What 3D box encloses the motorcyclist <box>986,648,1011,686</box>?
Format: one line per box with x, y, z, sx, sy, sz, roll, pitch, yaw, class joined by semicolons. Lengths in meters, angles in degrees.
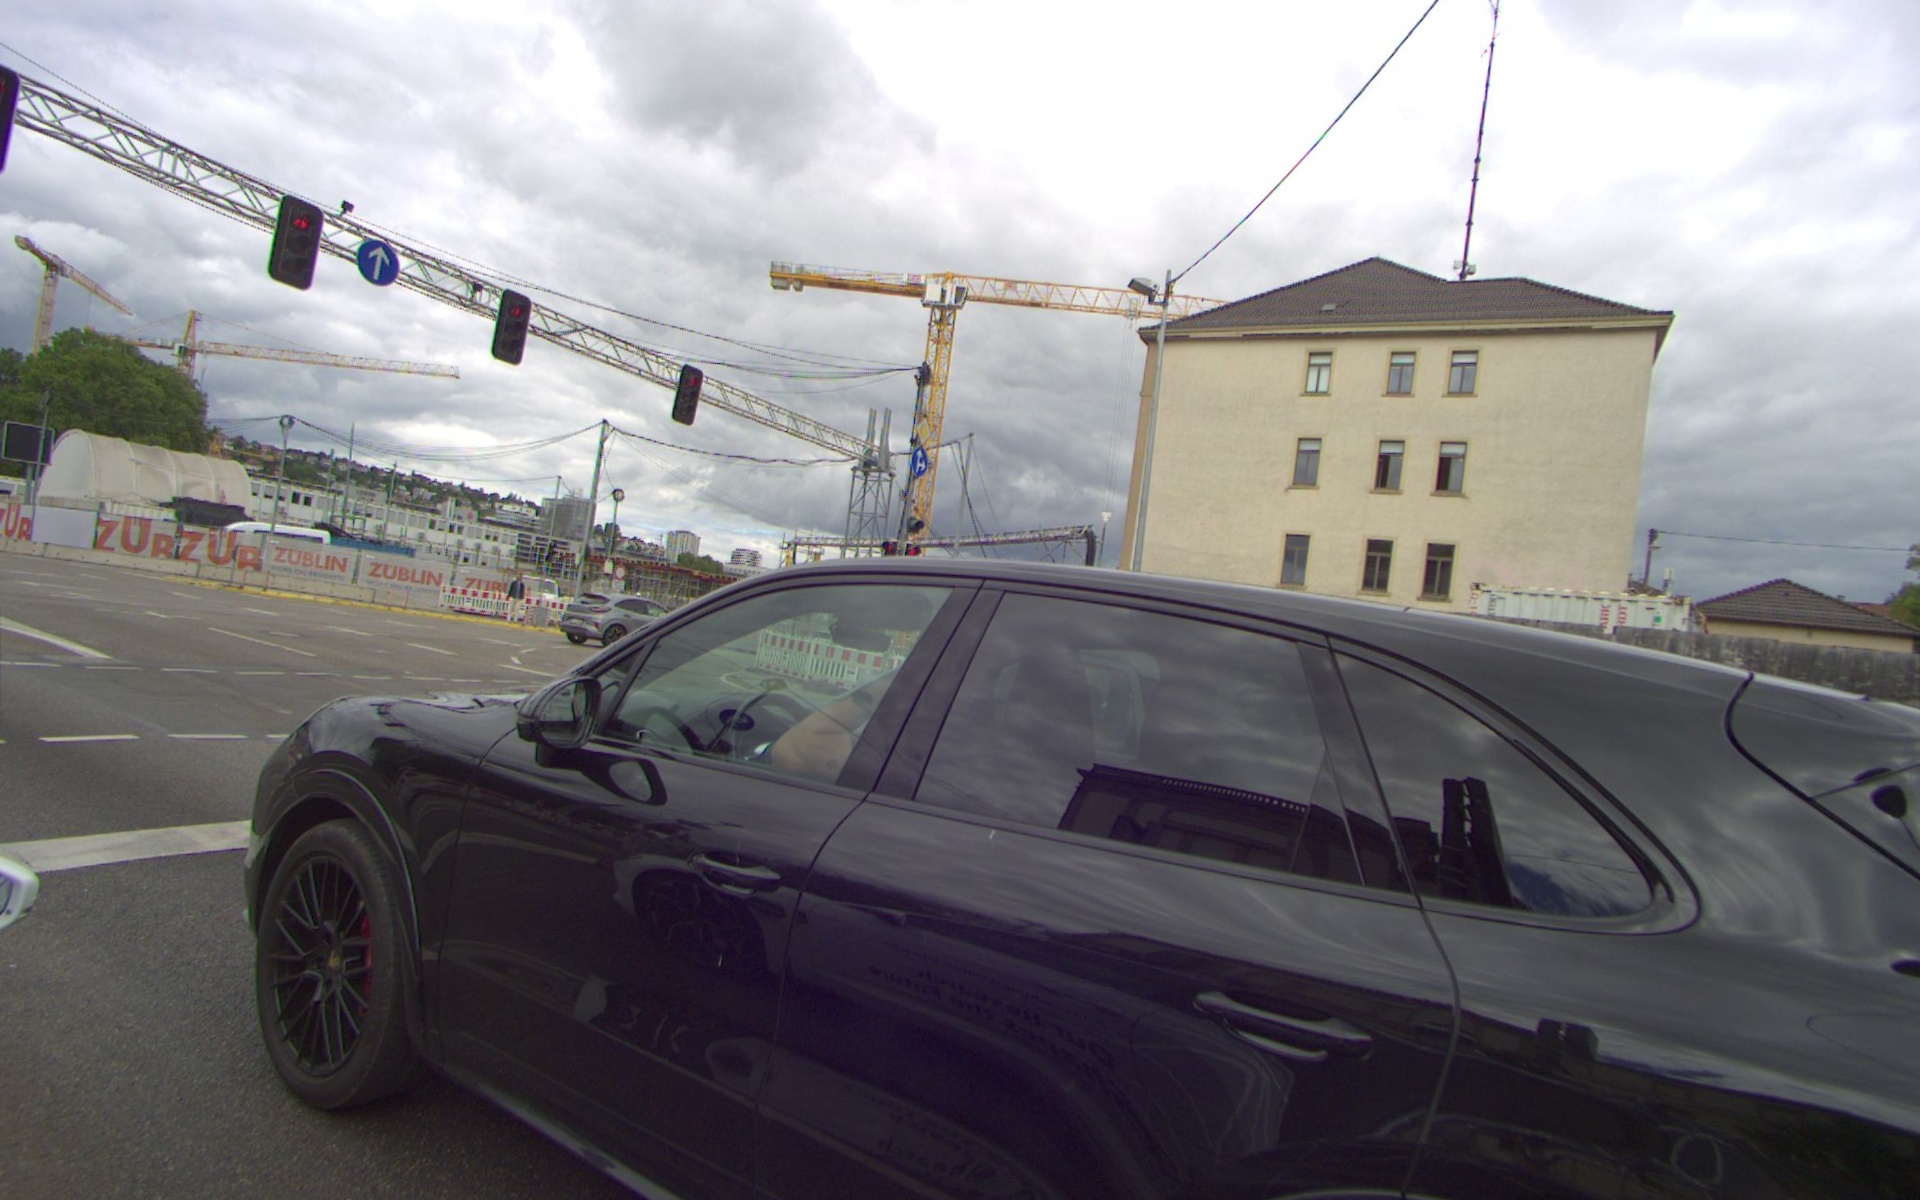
1.732;2.987;44.918;0.641;1.615;0.787;6;-1;32;motorcyclist

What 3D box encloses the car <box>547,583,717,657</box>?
-9.248;0.624;28.731;1.966;1.557;4.305;6;-2;30;car

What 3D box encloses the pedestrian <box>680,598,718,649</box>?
-11.322;1.038;43.582;1.027;2.037;1.035;8;-1;-40;pedestrian

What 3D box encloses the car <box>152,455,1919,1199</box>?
-0.001;0.686;2.715;4.505;1.687;1.997;6;-2;34;car

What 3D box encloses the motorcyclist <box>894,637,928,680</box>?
-1.954;2.327;40.123;0.804;1.589;0.880;6;-1;32;motorcyclist

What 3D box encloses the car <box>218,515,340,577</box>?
-29.520;-2.322;43.645;3.976;2.037;1.976;9;-2;-43;car

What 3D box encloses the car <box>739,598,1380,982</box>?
0.581;0.996;6.551;3.587;1.527;1.825;6;-2;33;car

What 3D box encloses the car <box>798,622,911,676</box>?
-4.324;2.084;42.095;1.969;1.721;4.675;6;-2;36;car

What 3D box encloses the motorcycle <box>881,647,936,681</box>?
-2.022;2.558;40.050;0.804;1.168;2.427;6;-2;32;motorcycle

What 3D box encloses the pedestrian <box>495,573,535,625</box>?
-17.313;-0.054;39.138;1.040;1.869;0.781;8;-1;-42;pedestrian

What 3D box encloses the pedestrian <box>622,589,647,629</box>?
-17.376;0.481;53.695;0.855;2.037;0.677;6;-1;44;pedestrian

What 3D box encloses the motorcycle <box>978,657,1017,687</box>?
1.673;3.206;44.857;0.641;1.168;2.171;6;-2;32;motorcycle
